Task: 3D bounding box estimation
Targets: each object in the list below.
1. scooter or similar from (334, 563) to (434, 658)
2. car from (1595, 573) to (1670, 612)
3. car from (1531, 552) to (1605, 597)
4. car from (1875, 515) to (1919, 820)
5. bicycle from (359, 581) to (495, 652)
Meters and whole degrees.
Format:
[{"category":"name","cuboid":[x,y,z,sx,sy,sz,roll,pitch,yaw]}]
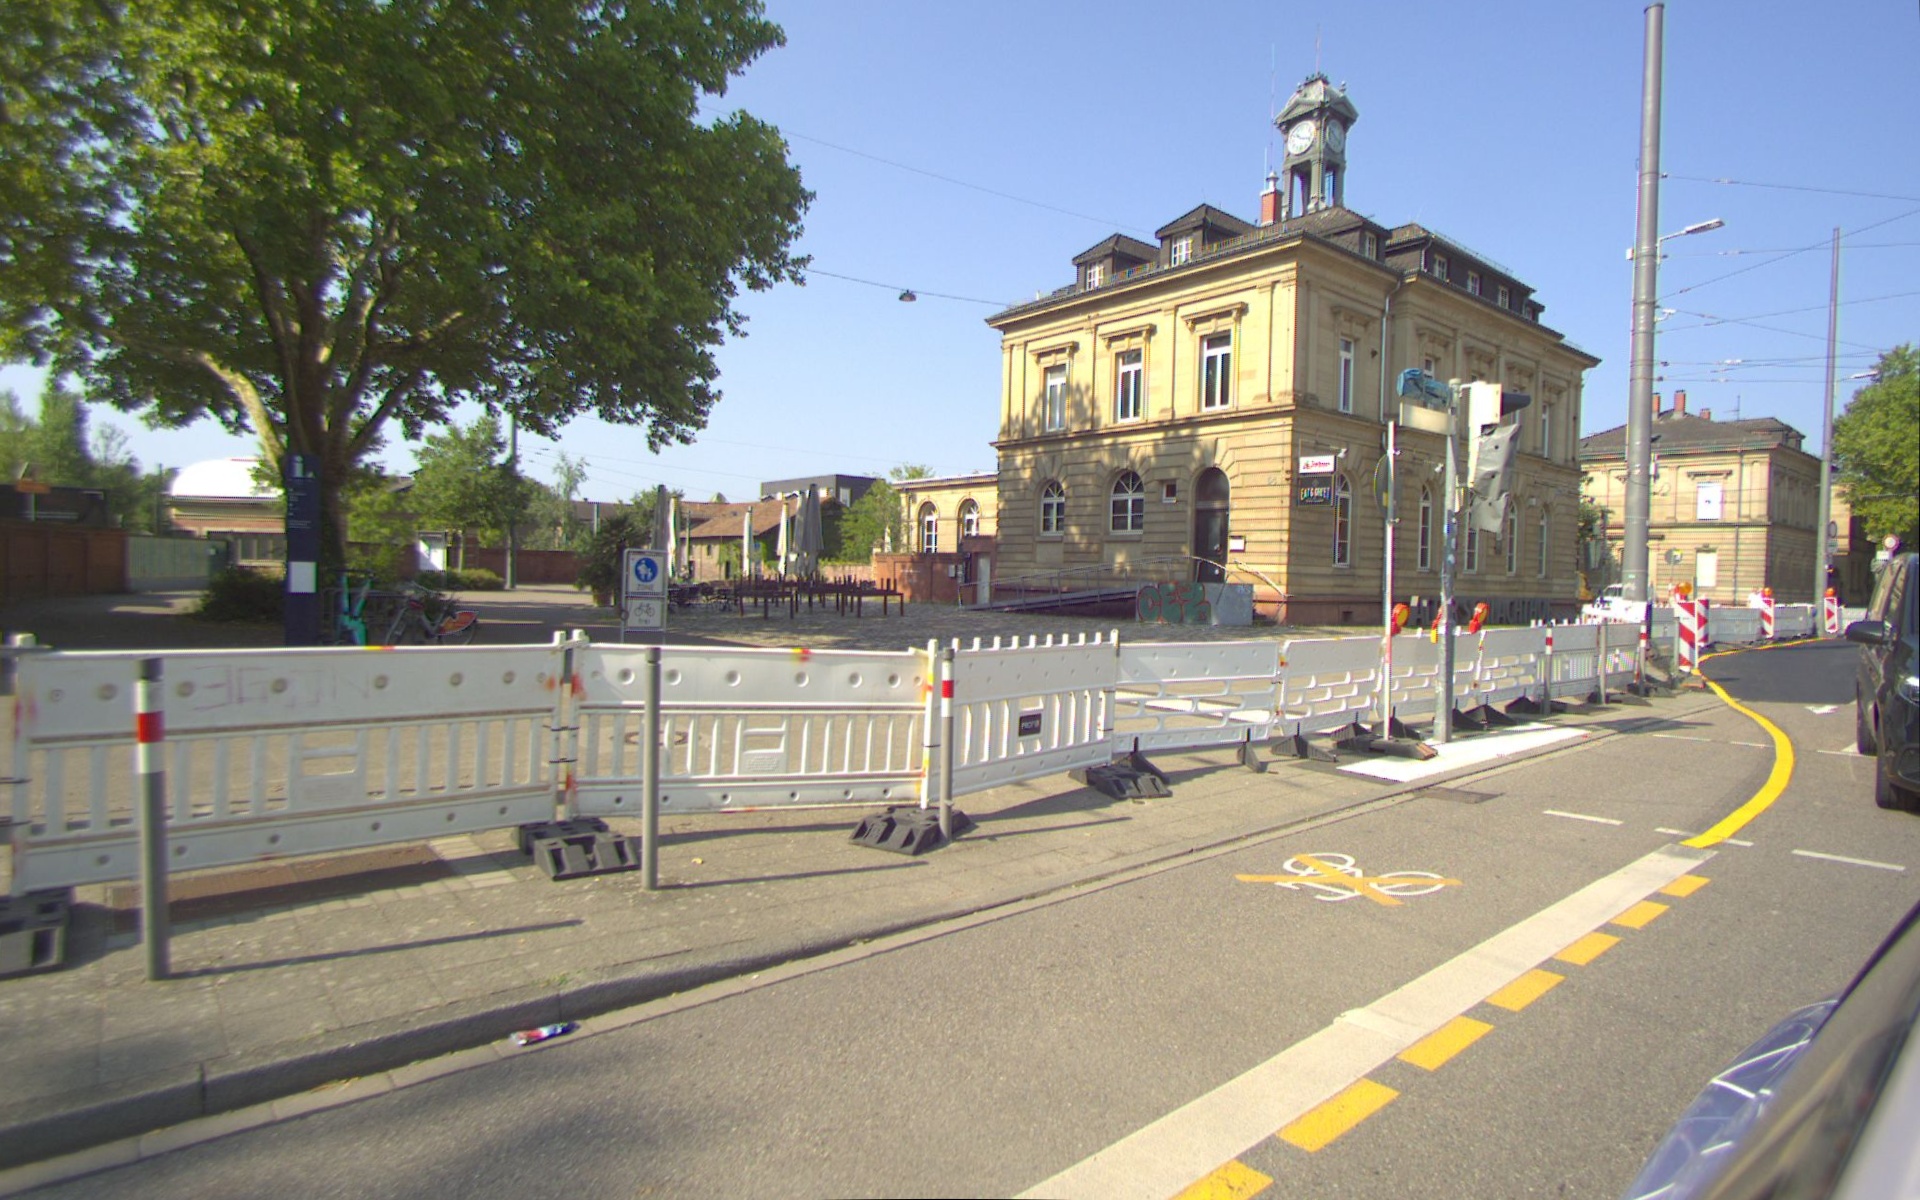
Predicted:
[{"category":"scooter or similar","cuboid":[-7.862,0.142,13.828,1.150,1.243,0.427,1,1,-33]},{"category":"car","cuboid":[36.252,-0.390,54.530,4.144,1.805,1.911,3,2,-36]},{"category":"car","cuboid":[34.954,-1.448,58.129,5.397,2.452,2.260,0,2,-44]},{"category":"car","cuboid":[7.938,0.412,7.378,1.848,1.910,4.114,1,1,43]},{"category":"bicycle","cuboid":[-8.079,0.257,15.418,0.489,1.012,1.797,2,-1,31]}]
